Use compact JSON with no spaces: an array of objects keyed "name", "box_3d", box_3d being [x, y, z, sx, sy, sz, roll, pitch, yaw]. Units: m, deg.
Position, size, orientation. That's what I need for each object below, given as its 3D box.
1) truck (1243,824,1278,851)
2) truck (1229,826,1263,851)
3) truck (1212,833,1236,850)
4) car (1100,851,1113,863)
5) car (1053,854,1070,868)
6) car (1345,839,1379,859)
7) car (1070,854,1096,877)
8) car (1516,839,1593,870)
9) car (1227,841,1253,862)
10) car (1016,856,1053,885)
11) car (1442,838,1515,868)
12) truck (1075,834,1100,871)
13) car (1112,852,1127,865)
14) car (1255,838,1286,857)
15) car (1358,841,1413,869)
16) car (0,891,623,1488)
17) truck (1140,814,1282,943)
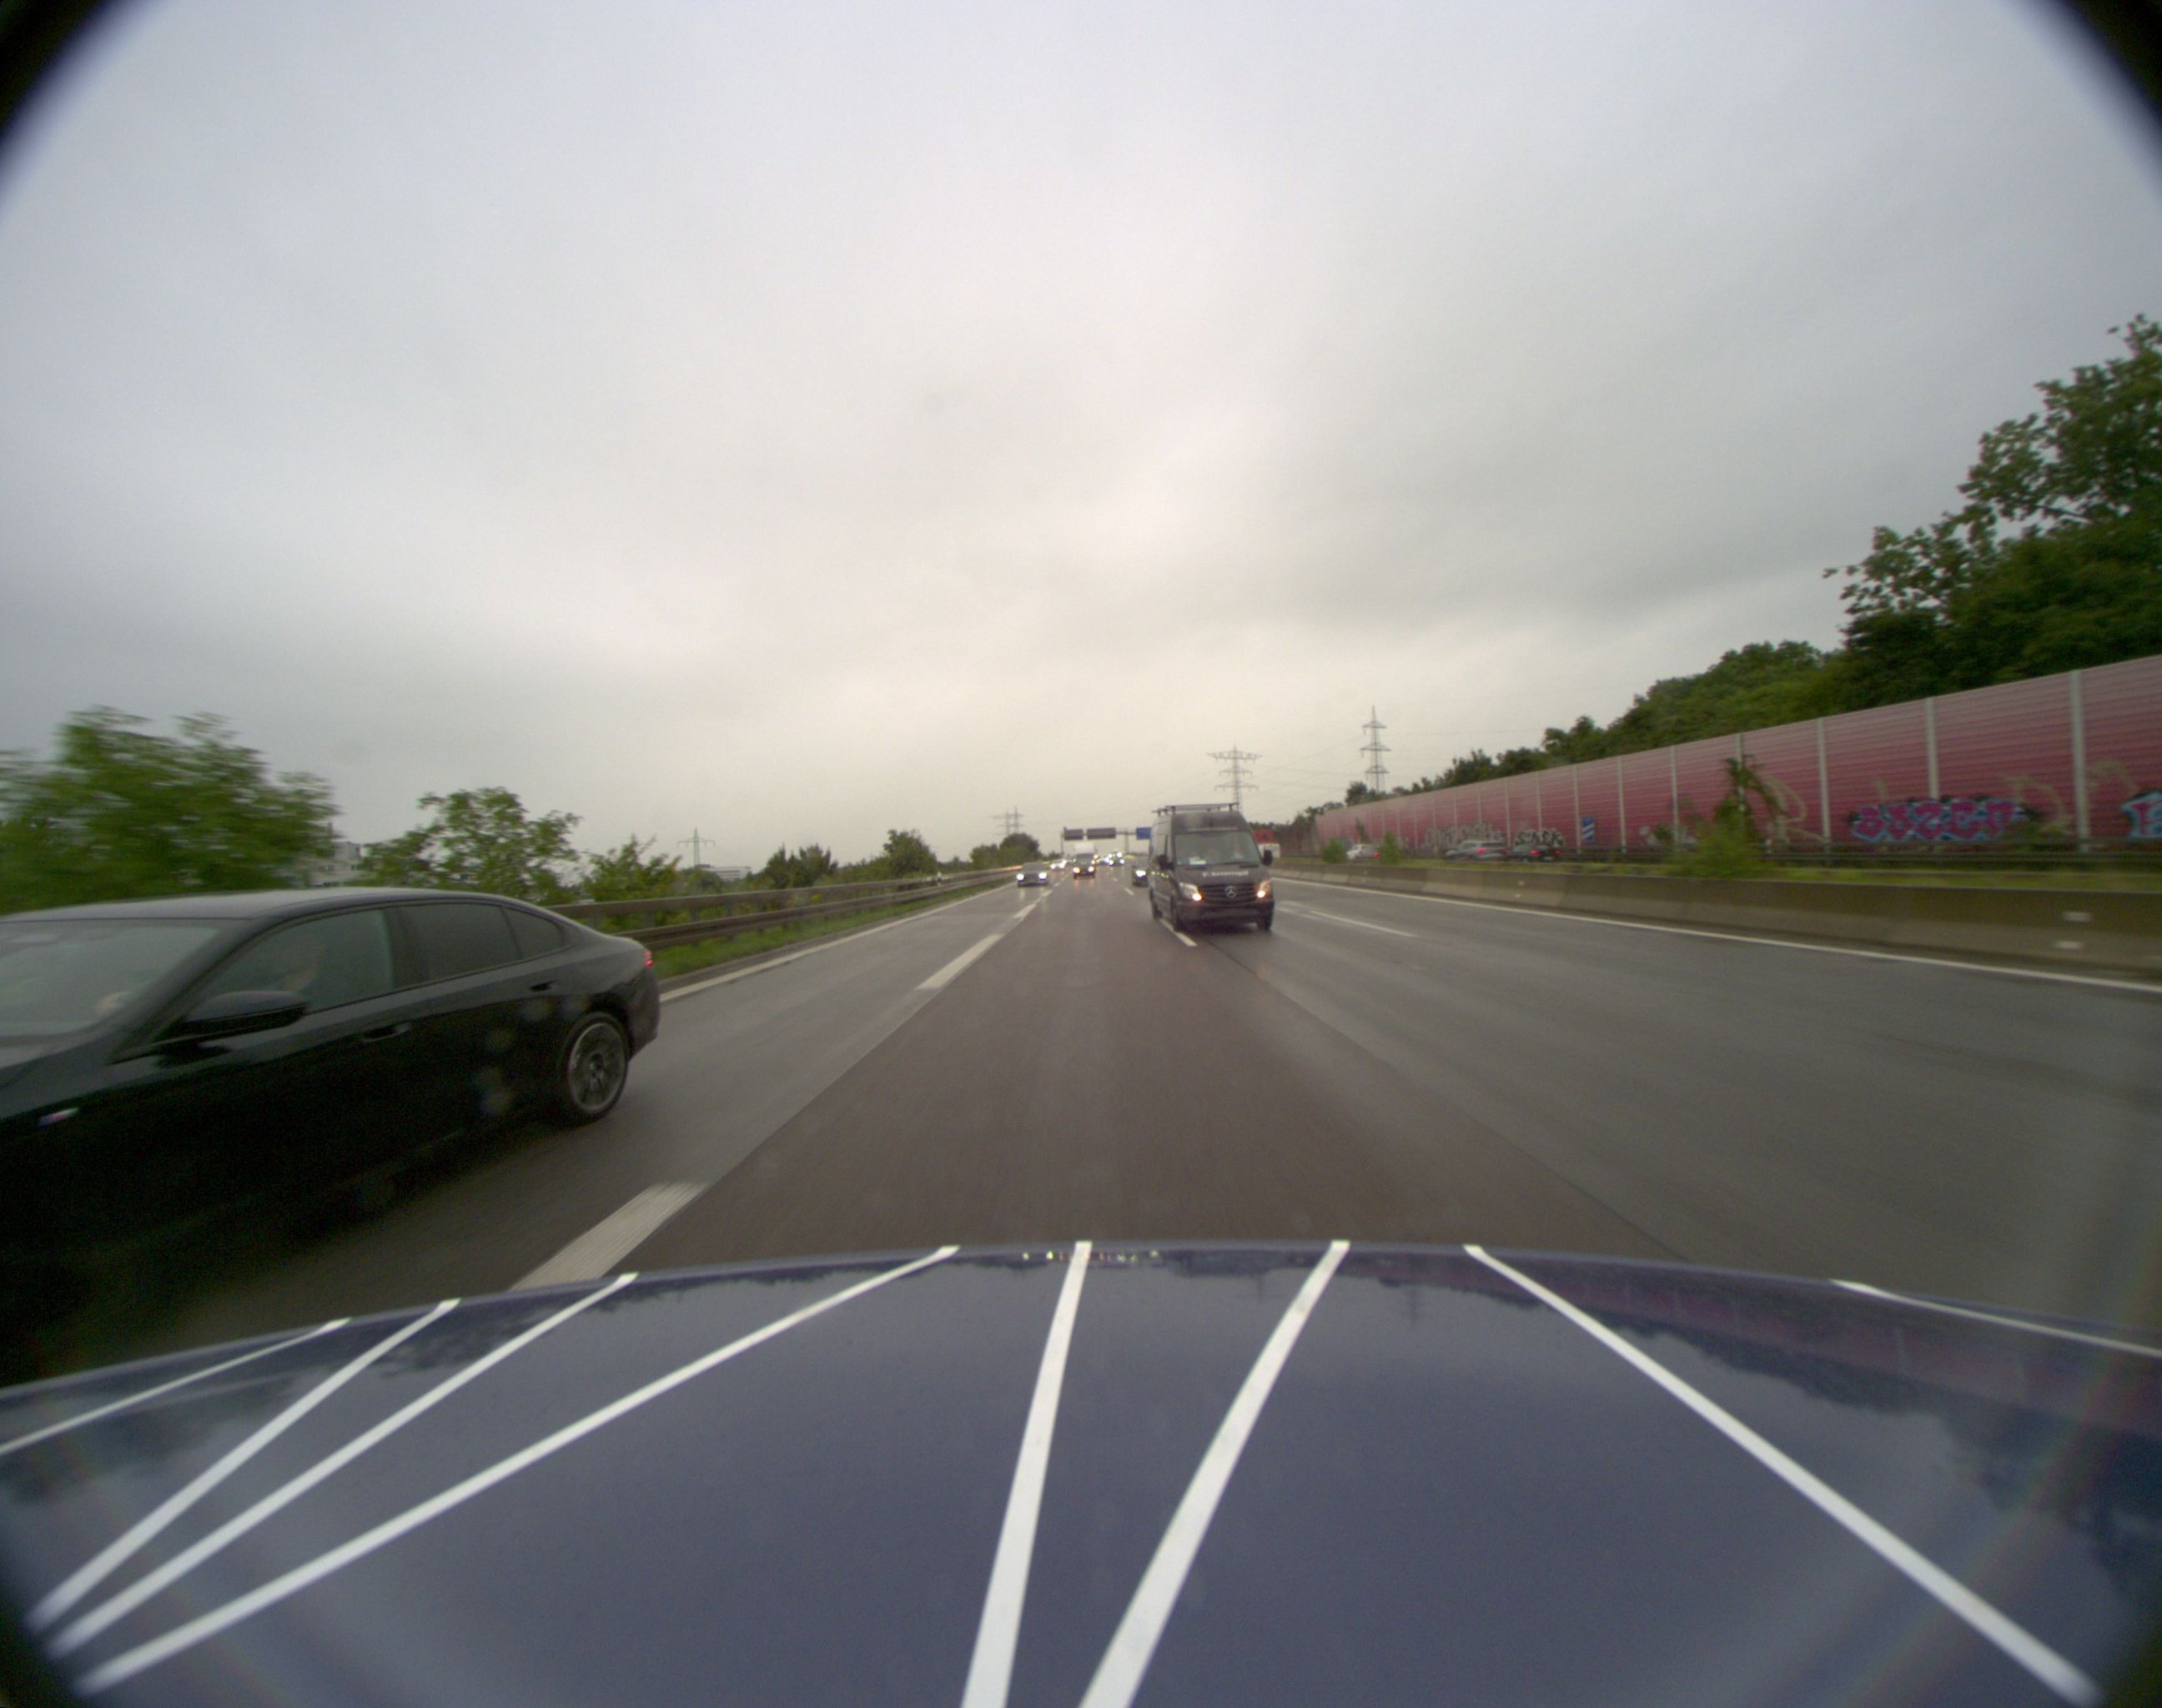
[{"name":"truck","box_3d":[25.116,-2.264,106.725,2.788,3.470,8.493,-4,0,1]},{"name":"truck","box_3d":[25.210,-2.320,116.335,2.788,3.470,10.617,-4,0,1]},{"name":"truck","box_3d":[28.824,-2.449,153.548,2.948,3.229,9.378,-5,0,1]},{"name":"car","box_3d":[4.111,0.478,122.559,1.998,1.935,4.000,-2,0,1]},{"name":"car","box_3d":[-2.589,0.930,100.146,1.998,1.706,4.000,-2,0,1]},{"name":"car","box_3d":[27.543,-0.454,74.566,1.742,1.641,3.915,-8,0,1]},{"name":"car","box_3d":[0.183,0.895,60.075,1.998,1.706,4.000,-2,0,1]},{"name":"car","box_3d":[27.610,0.021,44.461,1.998,1.638,4.000,-2,0,1]},{"name":"car","box_3d":[17.076,-0.247,81.695,1.869,2.002,3.652,-8,0,1]},{"name":"car","box_3d":[-2.932,1.004,48.841,1.998,1.706,4.000,-2,0,1]},{"name":"car","box_3d":[23.593,-0.079,45.281,1.998,1.638,4.538,-2,0,1]},{"name":"truck","box_3d":[0.678,-0.187,79.222,2.392,3.657,4.987,-2,0,1]},{"name":"car","box_3d":[5.380,0.583,106.471,1.998,1.706,4.000,-2,0,1]},{"name":"car","box_3d":[20.635,-0.682,82.941,2.031,1.746,4.442,-8,0,1]},{"name":"car","box_3d":[20.009,0.033,50.083,1.998,1.714,4.000,-2,0,1]},{"name":"car","box_3d":[-3.932,1.025,2.770,1.862,1.531,4.204,-2,0,1]},{"name":"truck","box_3d":[2.696,0.433,17.421,1.999,2.324,6.109,-3,1,-1]}]
